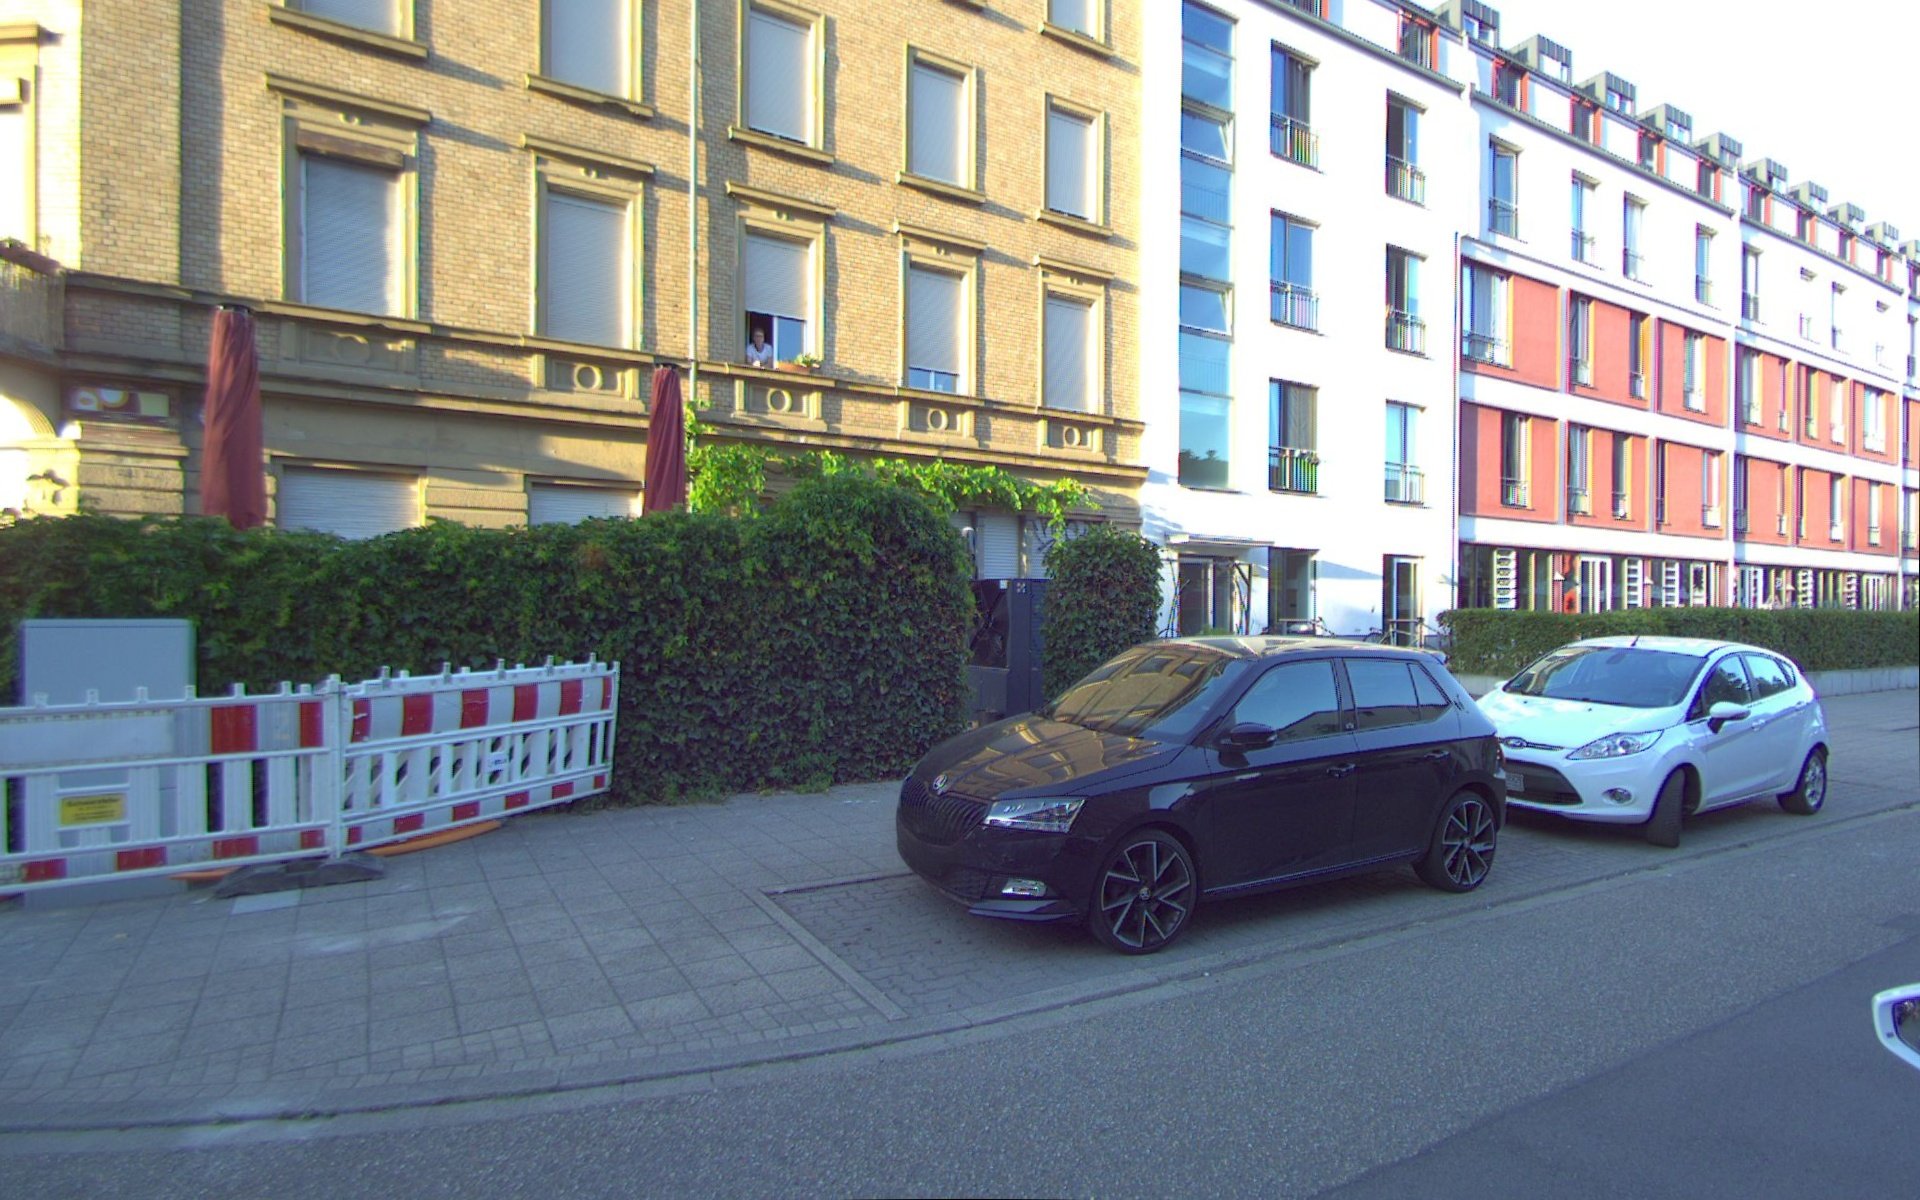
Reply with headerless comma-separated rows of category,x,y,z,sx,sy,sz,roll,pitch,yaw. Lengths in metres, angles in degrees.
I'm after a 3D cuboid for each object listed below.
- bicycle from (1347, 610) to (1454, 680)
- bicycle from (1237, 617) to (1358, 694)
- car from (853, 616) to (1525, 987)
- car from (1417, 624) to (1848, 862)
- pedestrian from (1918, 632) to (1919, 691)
bicycle,7.976,0.792,18.268,0.602,1.163,1.769,1,1,-27
bicycle,5.688,0.902,17.045,0.802,1.157,1.907,1,1,-29
car,1.447,0.895,5.998,3.799,1.555,1.695,1,0,-31
car,5.799,1.005,8.536,3.974,1.550,1.641,1,0,-34
pedestrian,20.259,1.111,20.483,0.788,1.521,0.828,1,1,-30
